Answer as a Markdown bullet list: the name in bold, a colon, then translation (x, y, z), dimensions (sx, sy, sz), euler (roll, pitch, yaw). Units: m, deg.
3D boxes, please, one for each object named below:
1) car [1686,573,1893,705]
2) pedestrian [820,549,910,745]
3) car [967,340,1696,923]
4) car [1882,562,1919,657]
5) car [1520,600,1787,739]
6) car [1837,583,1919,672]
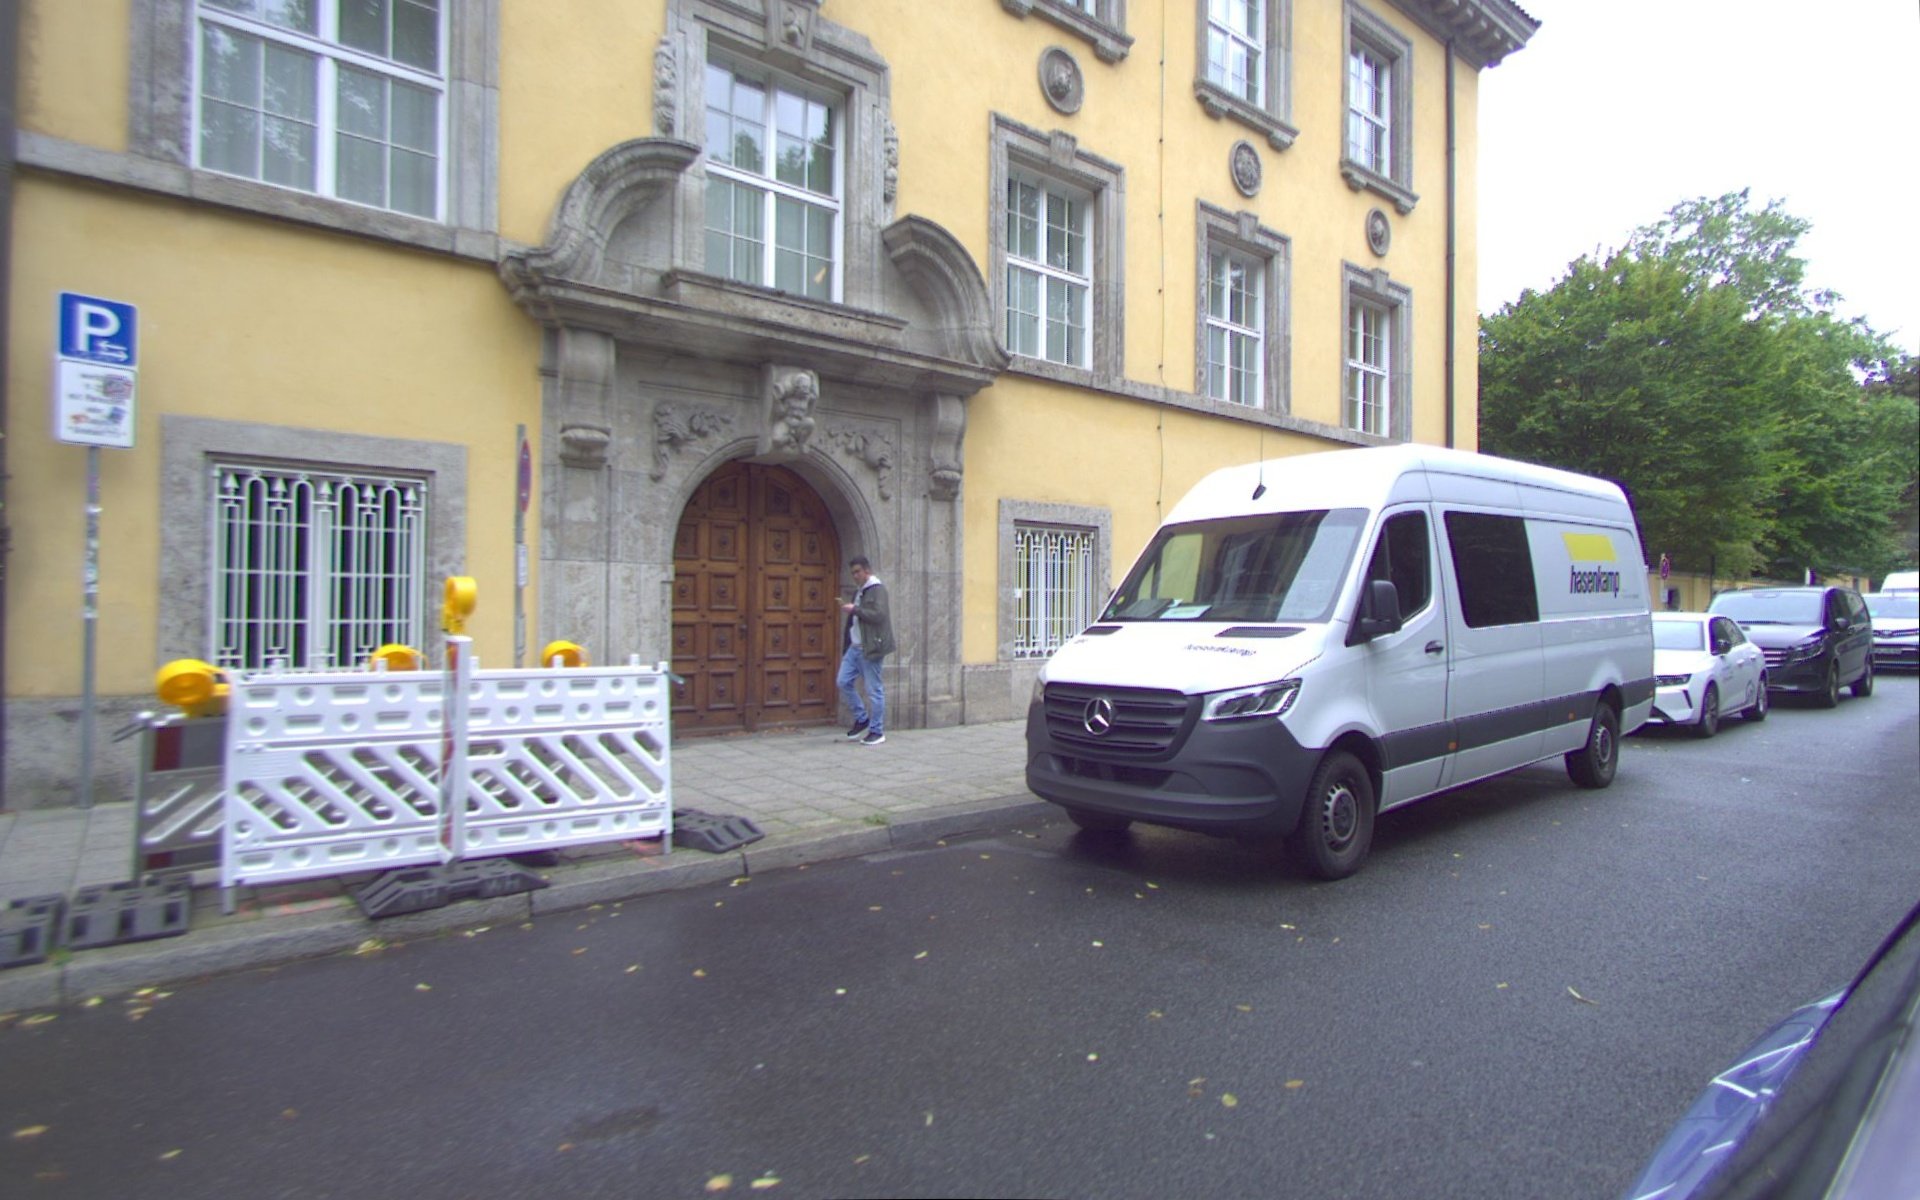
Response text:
- **car**: translation (13.838, 0.538, 16.764), dimensions (4.900, 1.892, 1.874), euler (0, 0, -41)
- **pedestrian**: translation (-0.933, 0.420, 9.863), dimensions (0.572, 1.826, 0.702), euler (-1, 2, -40)
- **car**: translation (3.520, 0.118, 7.947), dimensions (7.482, 2.707, 2.058), euler (0, 0, -41)
- **car**: translation (27.768, 0.219, 28.441), dimensions (5.640, 2.519, 2.099), euler (-1, 1, -41)
- **car**: translation (9.046, 0.748, 13.068), dimensions (4.181, 1.476, 1.874), euler (0, 0, -41)
- **car**: translation (22.424, 0.597, 23.898), dimensions (5.076, 1.931, 2.015), euler (0, -1, -43)
